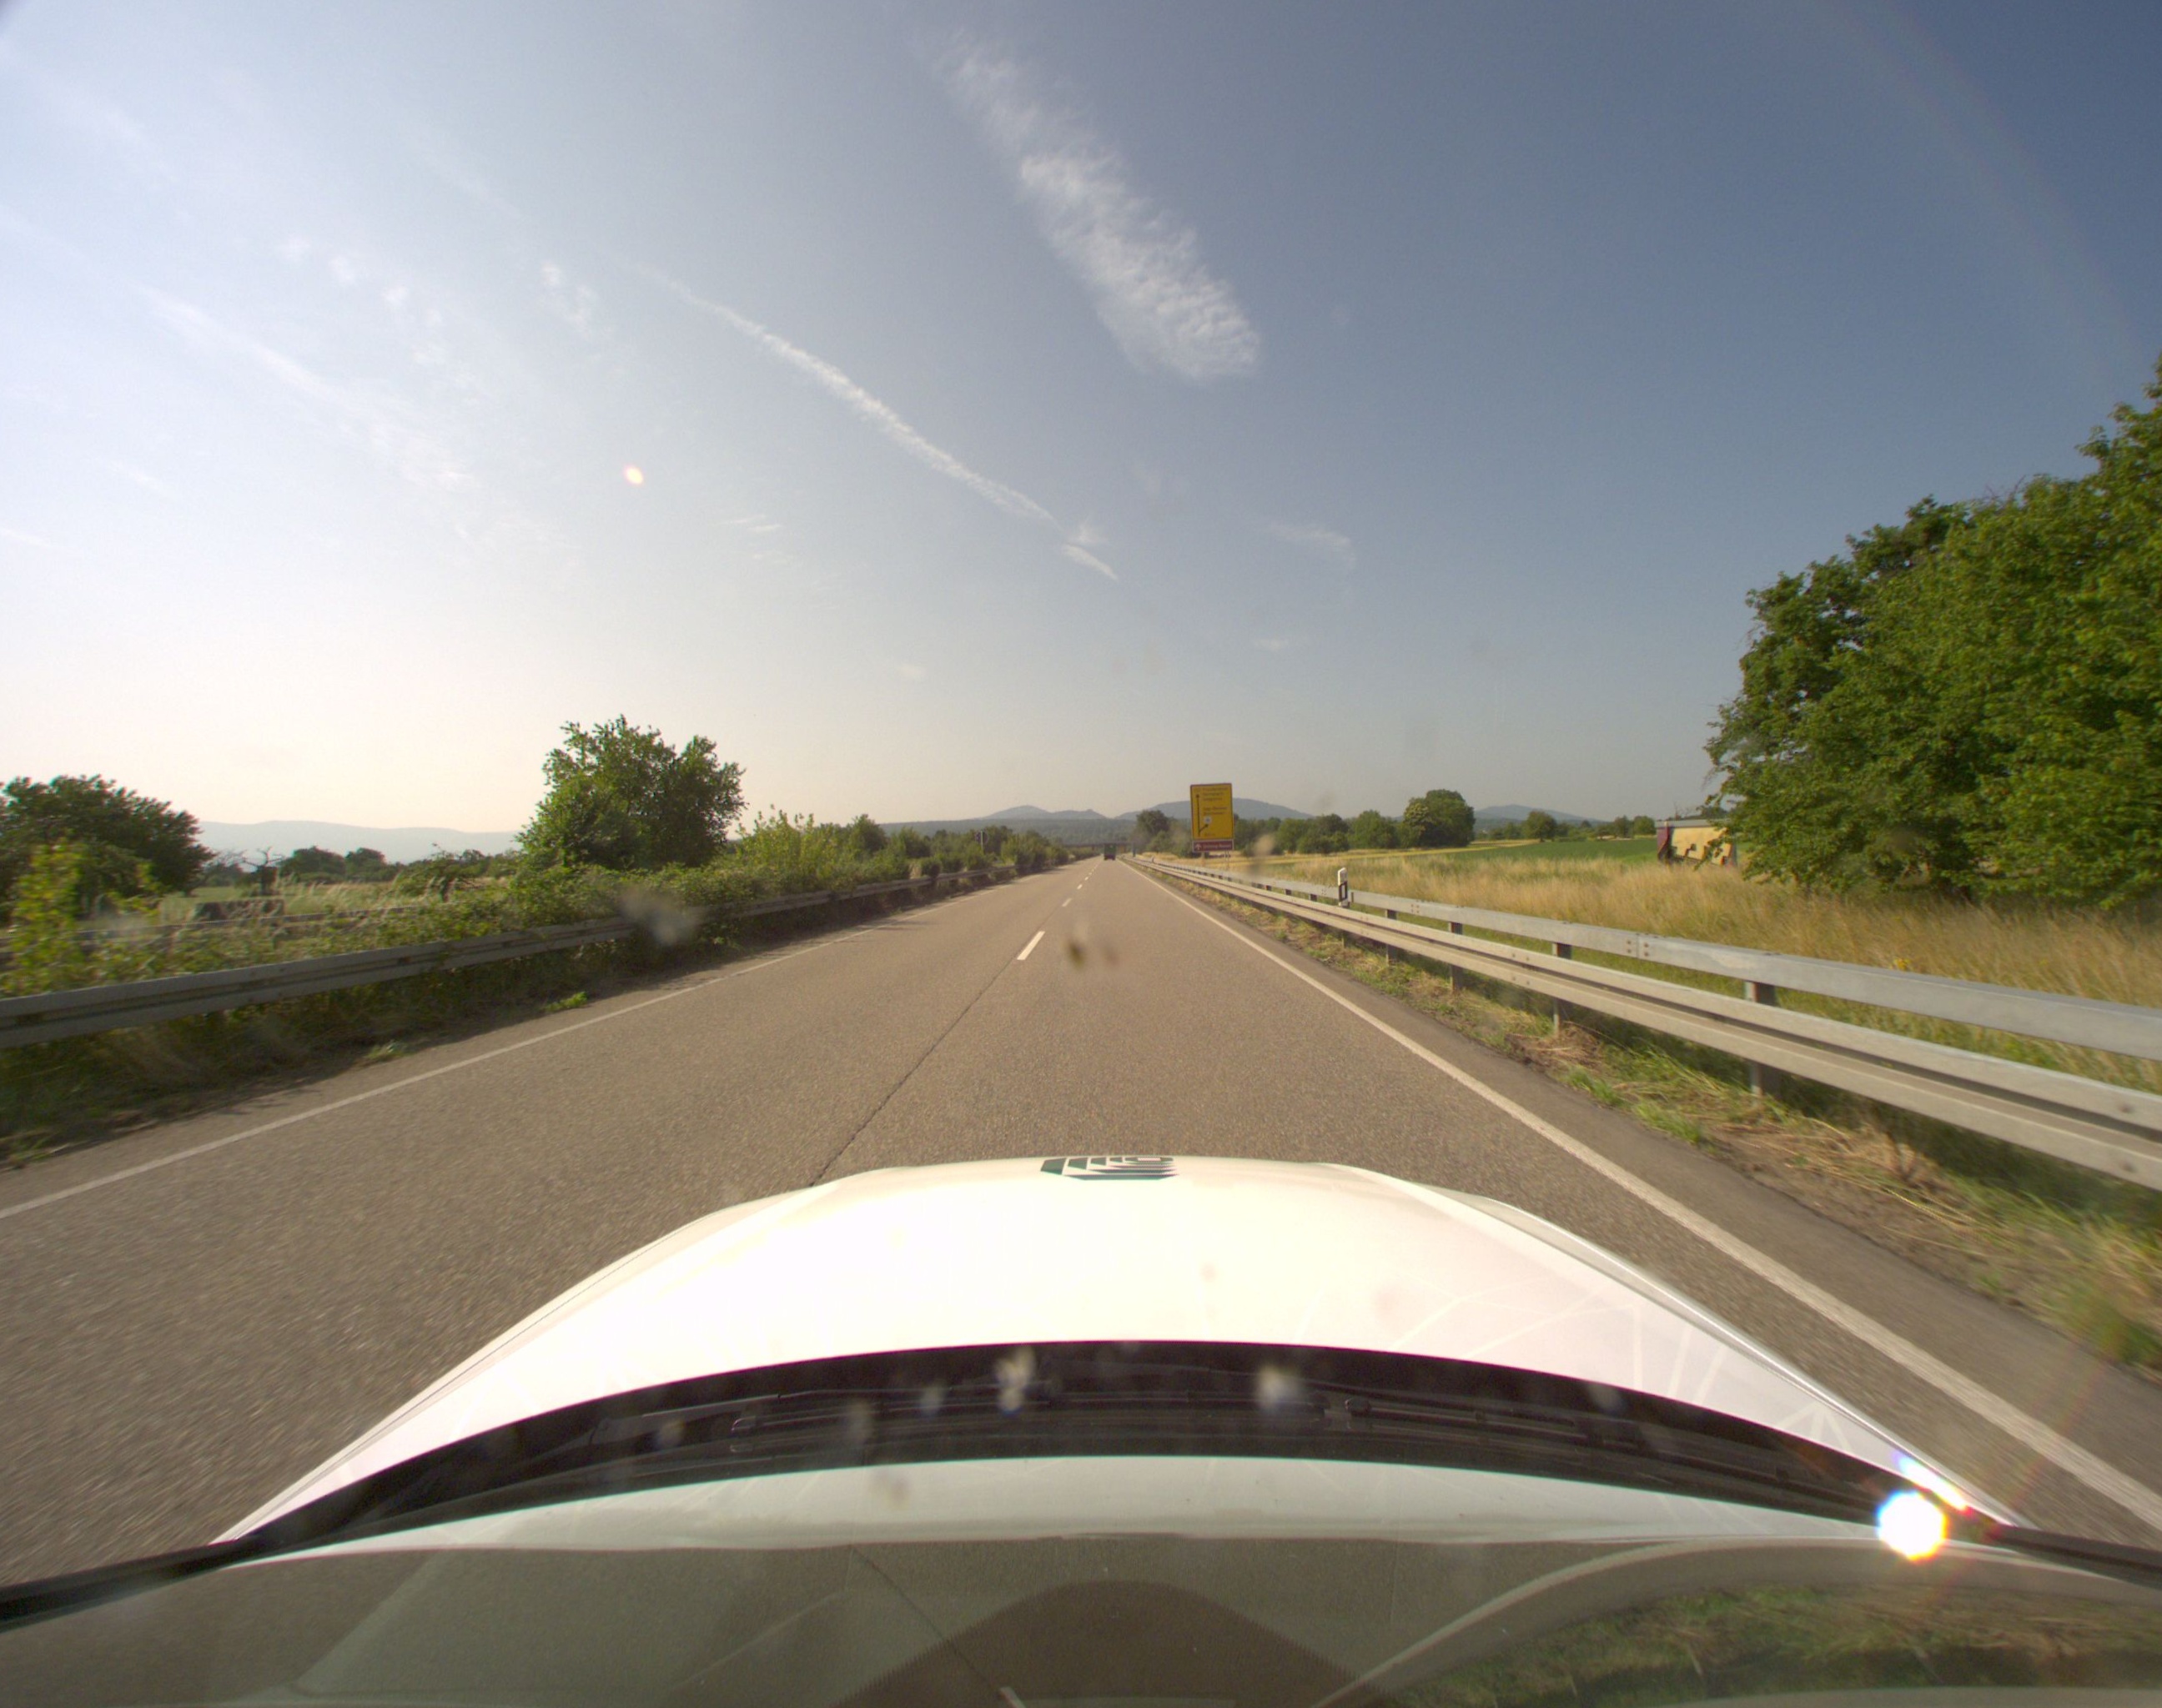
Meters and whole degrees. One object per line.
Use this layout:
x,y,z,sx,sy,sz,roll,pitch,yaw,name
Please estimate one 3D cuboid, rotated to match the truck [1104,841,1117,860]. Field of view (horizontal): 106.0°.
6.496,-0.820,178.664,2.711,3.965,10.422,0,1,2,truck
